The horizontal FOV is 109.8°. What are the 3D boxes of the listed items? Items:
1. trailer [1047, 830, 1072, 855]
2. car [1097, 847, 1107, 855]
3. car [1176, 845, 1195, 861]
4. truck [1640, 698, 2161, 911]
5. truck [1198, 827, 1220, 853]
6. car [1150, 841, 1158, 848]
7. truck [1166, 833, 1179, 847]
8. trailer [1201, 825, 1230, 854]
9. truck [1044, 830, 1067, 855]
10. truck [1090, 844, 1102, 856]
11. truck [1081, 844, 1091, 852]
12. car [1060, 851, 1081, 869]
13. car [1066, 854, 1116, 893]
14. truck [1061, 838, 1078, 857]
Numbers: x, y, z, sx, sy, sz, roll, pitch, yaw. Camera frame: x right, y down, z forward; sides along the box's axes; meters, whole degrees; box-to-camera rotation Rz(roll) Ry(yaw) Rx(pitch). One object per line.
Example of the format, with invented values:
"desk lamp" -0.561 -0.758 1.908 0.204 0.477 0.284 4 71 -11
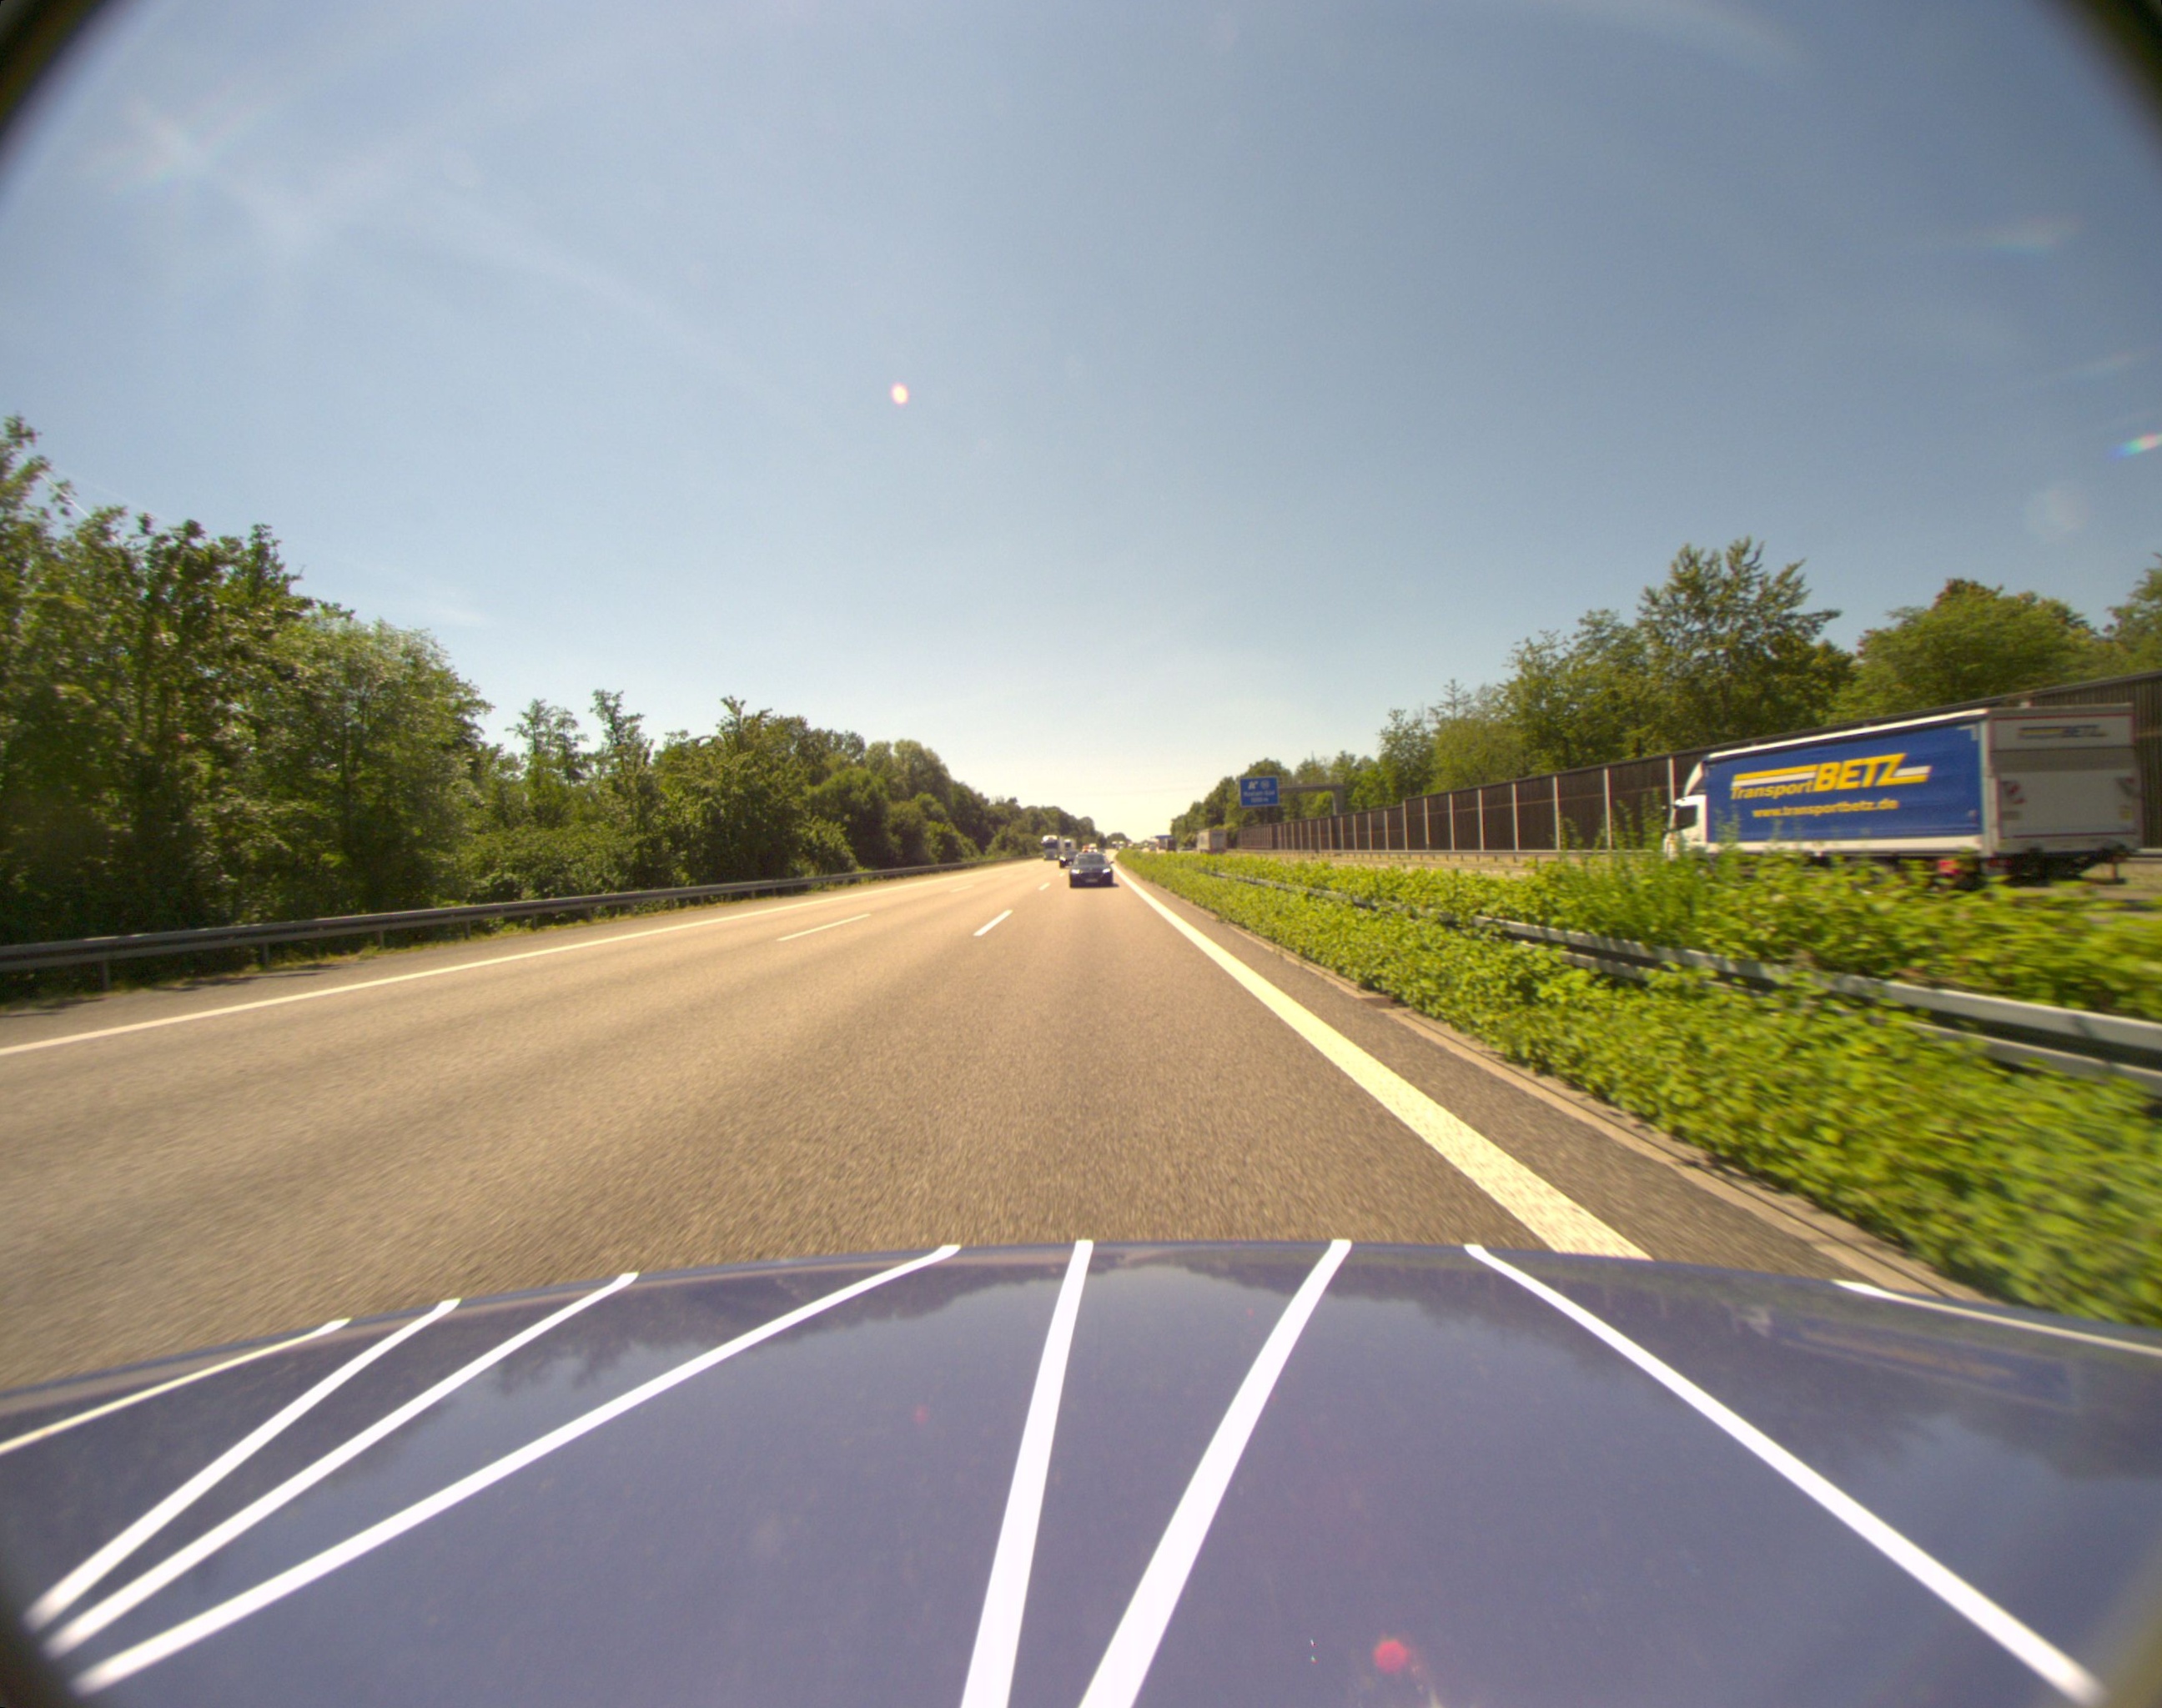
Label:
"trailer" -3.584 -1.933 131.682 2.746 3.952 13.657 -2 1 5
"car" 4.547 -0.576 163.515 1.879 1.630 4.001 -2 1 4
"car" 10.941 -0.164 79.577 1.587 1.579 4.000 -2 1 2
"truck" 17.495 -0.889 17.489 2.840 3.588 8.744 -2 1 1
"truck" 20.841 -2.215 124.106 2.526 4.043 6.370 -2 1 2
"car" 21.764 -2.711 226.686 1.998 2.002 5.102 -2 1 4
"truck" 25.387 -3.813 210.701 2.877 3.584 9.952 -2 1 3
"trailer" 20.593 -2.136 117.245 2.490 4.112 13.653 -2 1 2
"truck" -4.154 -1.845 124.997 2.728 3.952 6.503 -2 1 5
"truck" 4.113 -1.175 209.987 2.859 3.163 10.710 -2 0 0
"truck" 1.668 -1.790 240.101 2.436 2.426 10.011 -2 1 4
"car" -0.944 0.568 71.676 1.862 1.614 3.737 -2 0 1
"car" 0.453 0.720 30.358 1.800 1.390 4.833 -2 0 2
"truck" -2.507 -1.503 170.654 3.049 3.947 14.455 -2 0 2
